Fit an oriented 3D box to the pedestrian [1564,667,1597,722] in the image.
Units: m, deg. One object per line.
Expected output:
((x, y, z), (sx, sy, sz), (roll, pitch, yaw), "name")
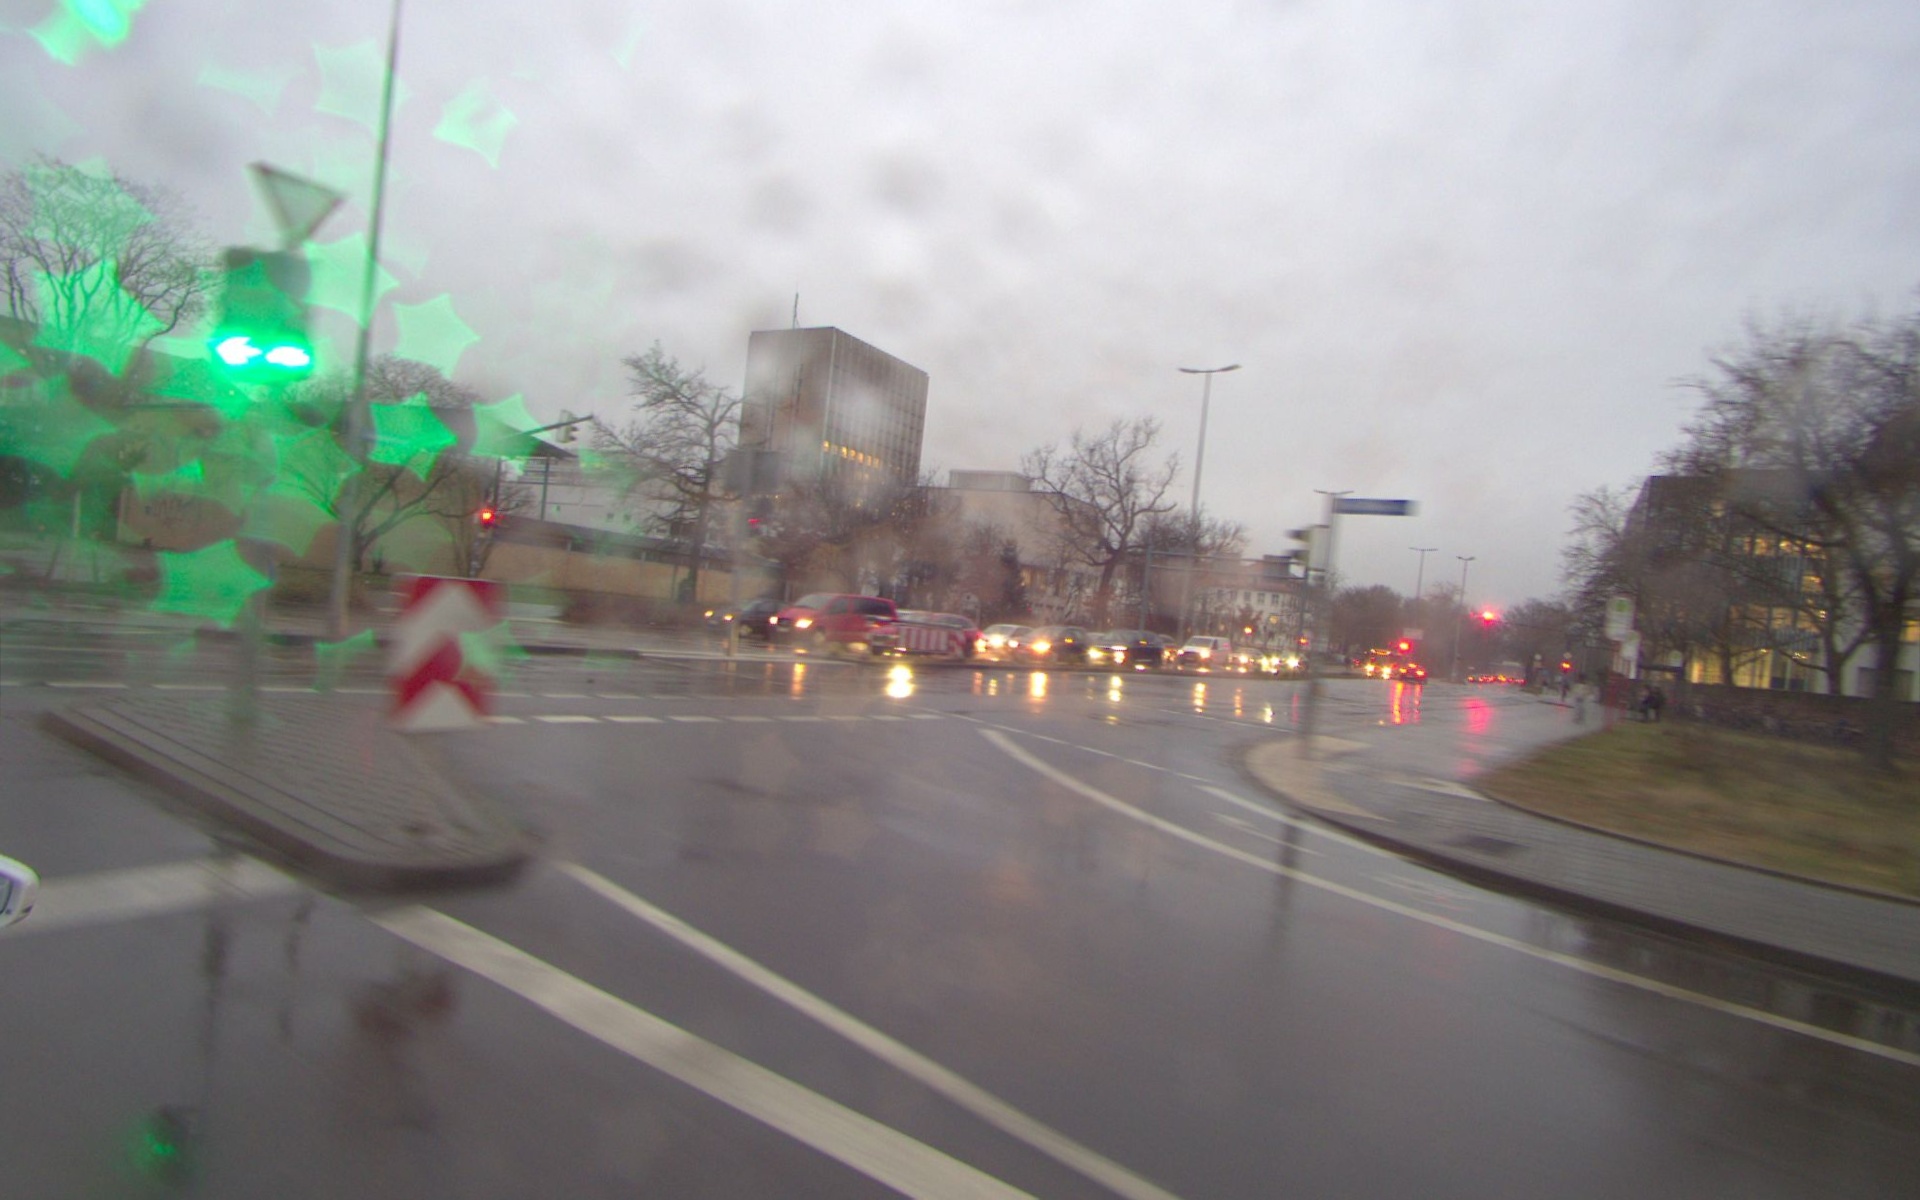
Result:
((22.536, 3.412, 36.539), (0.795, 1.854, 0.945), (7, 2, 32), "pedestrian")

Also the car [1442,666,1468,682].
((61.385, 9.160, 124.806), (1.969, 1.587, 4.456), (8, 0, 36), "car")

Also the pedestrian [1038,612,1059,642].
((5.841, 1.807, 66.648), (0.919, 1.849, 0.831), (8, 2, 35), "pedestrian")

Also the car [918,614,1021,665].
((0.461, 1.671, 41.912), (1.968, 1.772, 4.456), (7, 1, 35), "car")

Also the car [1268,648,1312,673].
((26.003, 4.763, 79.160), (1.968, 1.587, 4.456), (8, 1, 35), "car")

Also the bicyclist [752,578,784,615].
((-8.397, -0.141, 43.955), (0.756, 1.509, 0.991), (7, 2, 36), "bicyclist")

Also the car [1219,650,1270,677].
((20.132, 4.521, 71.142), (1.968, 1.587, 4.456), (8, 1, 35), "car")

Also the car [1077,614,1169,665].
((6.973, 1.716, 42.693), (1.968, 1.772, 4.456), (8, 1, 35), "car")

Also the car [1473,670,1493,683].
((82.100, 12.028, 157.767), (1.969, 1.587, 4.456), (8, 0, 36), "car")

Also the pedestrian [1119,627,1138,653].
((12.740, 3.018, 76.129), (0.919, 1.849, 0.831), (8, 2, 35), "pedestrian")

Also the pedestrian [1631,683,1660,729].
((29.929, 4.610, 43.950), (0.795, 1.854, 0.945), (7, 2, 32), "pedestrian")

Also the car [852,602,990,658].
((-1.150, 0.981, 31.546), (1.901, 1.393, 4.484), (7, 1, 35), "car")

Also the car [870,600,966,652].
((-1.770, 1.164, 43.717), (1.970, 1.860, 3.986), (7, 0, 37), "car")

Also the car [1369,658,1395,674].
((54.655, 8.537, 130.247), (2.109, 1.839, 3.987), (7, 1, 35), "car")

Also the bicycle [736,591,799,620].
((-8.404, 0.257, 44.025), (0.782, 1.028, 2.893), (7, 1, 35), "bicycle")

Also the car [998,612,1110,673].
((3.608, 1.653, 37.963), (1.968, 1.772, 4.456), (15, 5, 35), "car")

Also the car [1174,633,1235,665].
((15.253, 3.081, 62.663), (1.968, 1.587, 4.746), (8, 1, 35), "car")

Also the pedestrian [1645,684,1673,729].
((31.161, 4.747, 44.867), (0.795, 1.854, 0.945), (7, 2, 32), "pedestrian")

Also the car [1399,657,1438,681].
((38.354, 5.750, 84.070), (1.969, 1.587, 4.456), (9, 0, 36), "car")

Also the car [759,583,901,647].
((-4.421, 0.558, 35.065), (1.968, 1.772, 4.929), (7, 1, 35), "car")

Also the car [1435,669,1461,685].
((57.259, 9.032, 118.055), (1.968, 1.587, 4.458), (8, 0, 35), "car")

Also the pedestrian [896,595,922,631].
((-2.817, 0.739, 55.565), (0.919, 1.849, 0.831), (8, 2, 35), "pedestrian")

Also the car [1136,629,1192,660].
((13.332, 2.909, 65.565), (1.968, 1.688, 3.987), (7, 1, 35), "car")

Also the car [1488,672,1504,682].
((103.942, 14.865, 195.120), (1.969, 1.587, 4.456), (8, 0, 36), "car")

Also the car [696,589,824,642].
((-7.157, 0.596, 36.405), (1.746, 1.505, 4.456), (7, 1, 35), "car")
